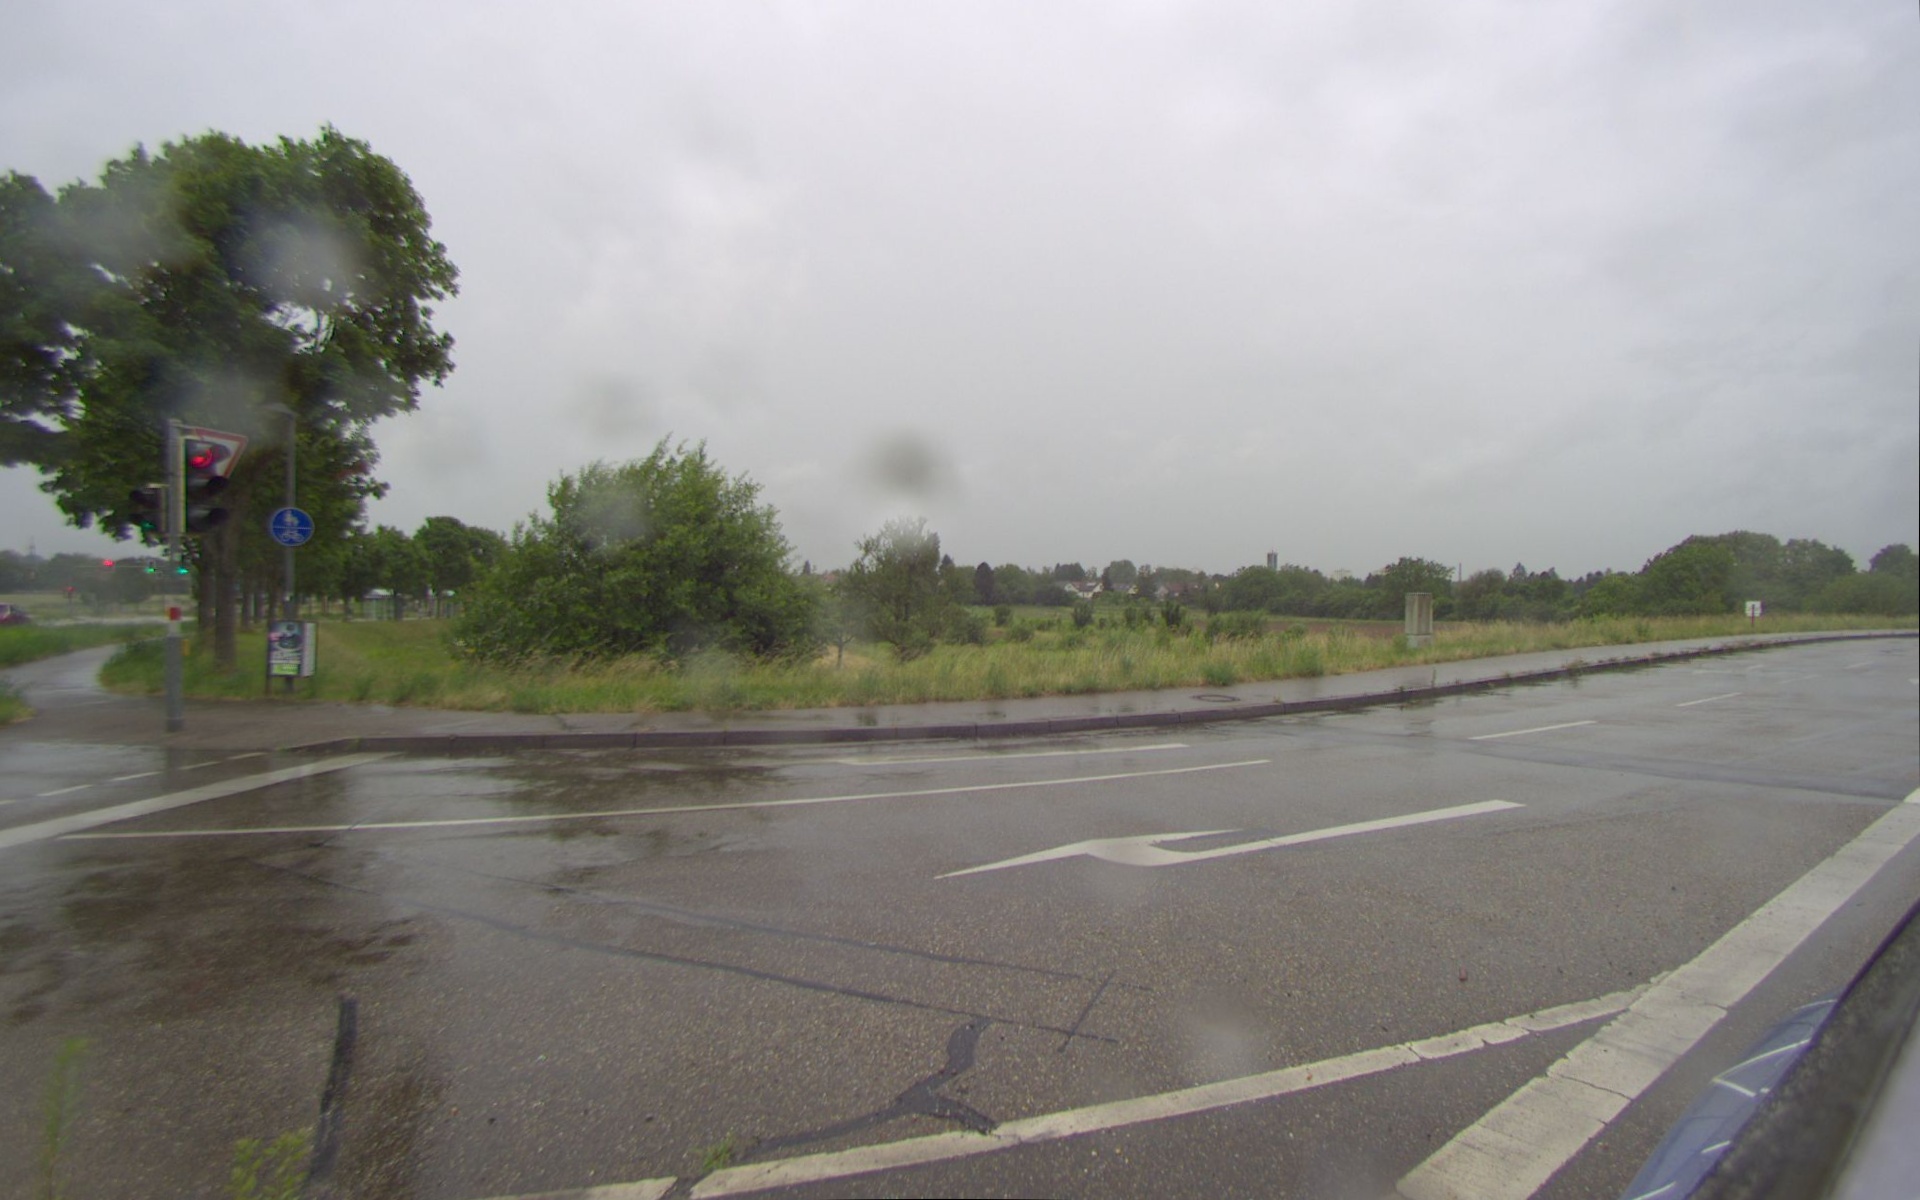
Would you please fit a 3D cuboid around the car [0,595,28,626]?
[{"bbox_3d":[-45.995,0.489,48.006,1.843,1.371,4.055,0,1,-32],"label":"car"}]
